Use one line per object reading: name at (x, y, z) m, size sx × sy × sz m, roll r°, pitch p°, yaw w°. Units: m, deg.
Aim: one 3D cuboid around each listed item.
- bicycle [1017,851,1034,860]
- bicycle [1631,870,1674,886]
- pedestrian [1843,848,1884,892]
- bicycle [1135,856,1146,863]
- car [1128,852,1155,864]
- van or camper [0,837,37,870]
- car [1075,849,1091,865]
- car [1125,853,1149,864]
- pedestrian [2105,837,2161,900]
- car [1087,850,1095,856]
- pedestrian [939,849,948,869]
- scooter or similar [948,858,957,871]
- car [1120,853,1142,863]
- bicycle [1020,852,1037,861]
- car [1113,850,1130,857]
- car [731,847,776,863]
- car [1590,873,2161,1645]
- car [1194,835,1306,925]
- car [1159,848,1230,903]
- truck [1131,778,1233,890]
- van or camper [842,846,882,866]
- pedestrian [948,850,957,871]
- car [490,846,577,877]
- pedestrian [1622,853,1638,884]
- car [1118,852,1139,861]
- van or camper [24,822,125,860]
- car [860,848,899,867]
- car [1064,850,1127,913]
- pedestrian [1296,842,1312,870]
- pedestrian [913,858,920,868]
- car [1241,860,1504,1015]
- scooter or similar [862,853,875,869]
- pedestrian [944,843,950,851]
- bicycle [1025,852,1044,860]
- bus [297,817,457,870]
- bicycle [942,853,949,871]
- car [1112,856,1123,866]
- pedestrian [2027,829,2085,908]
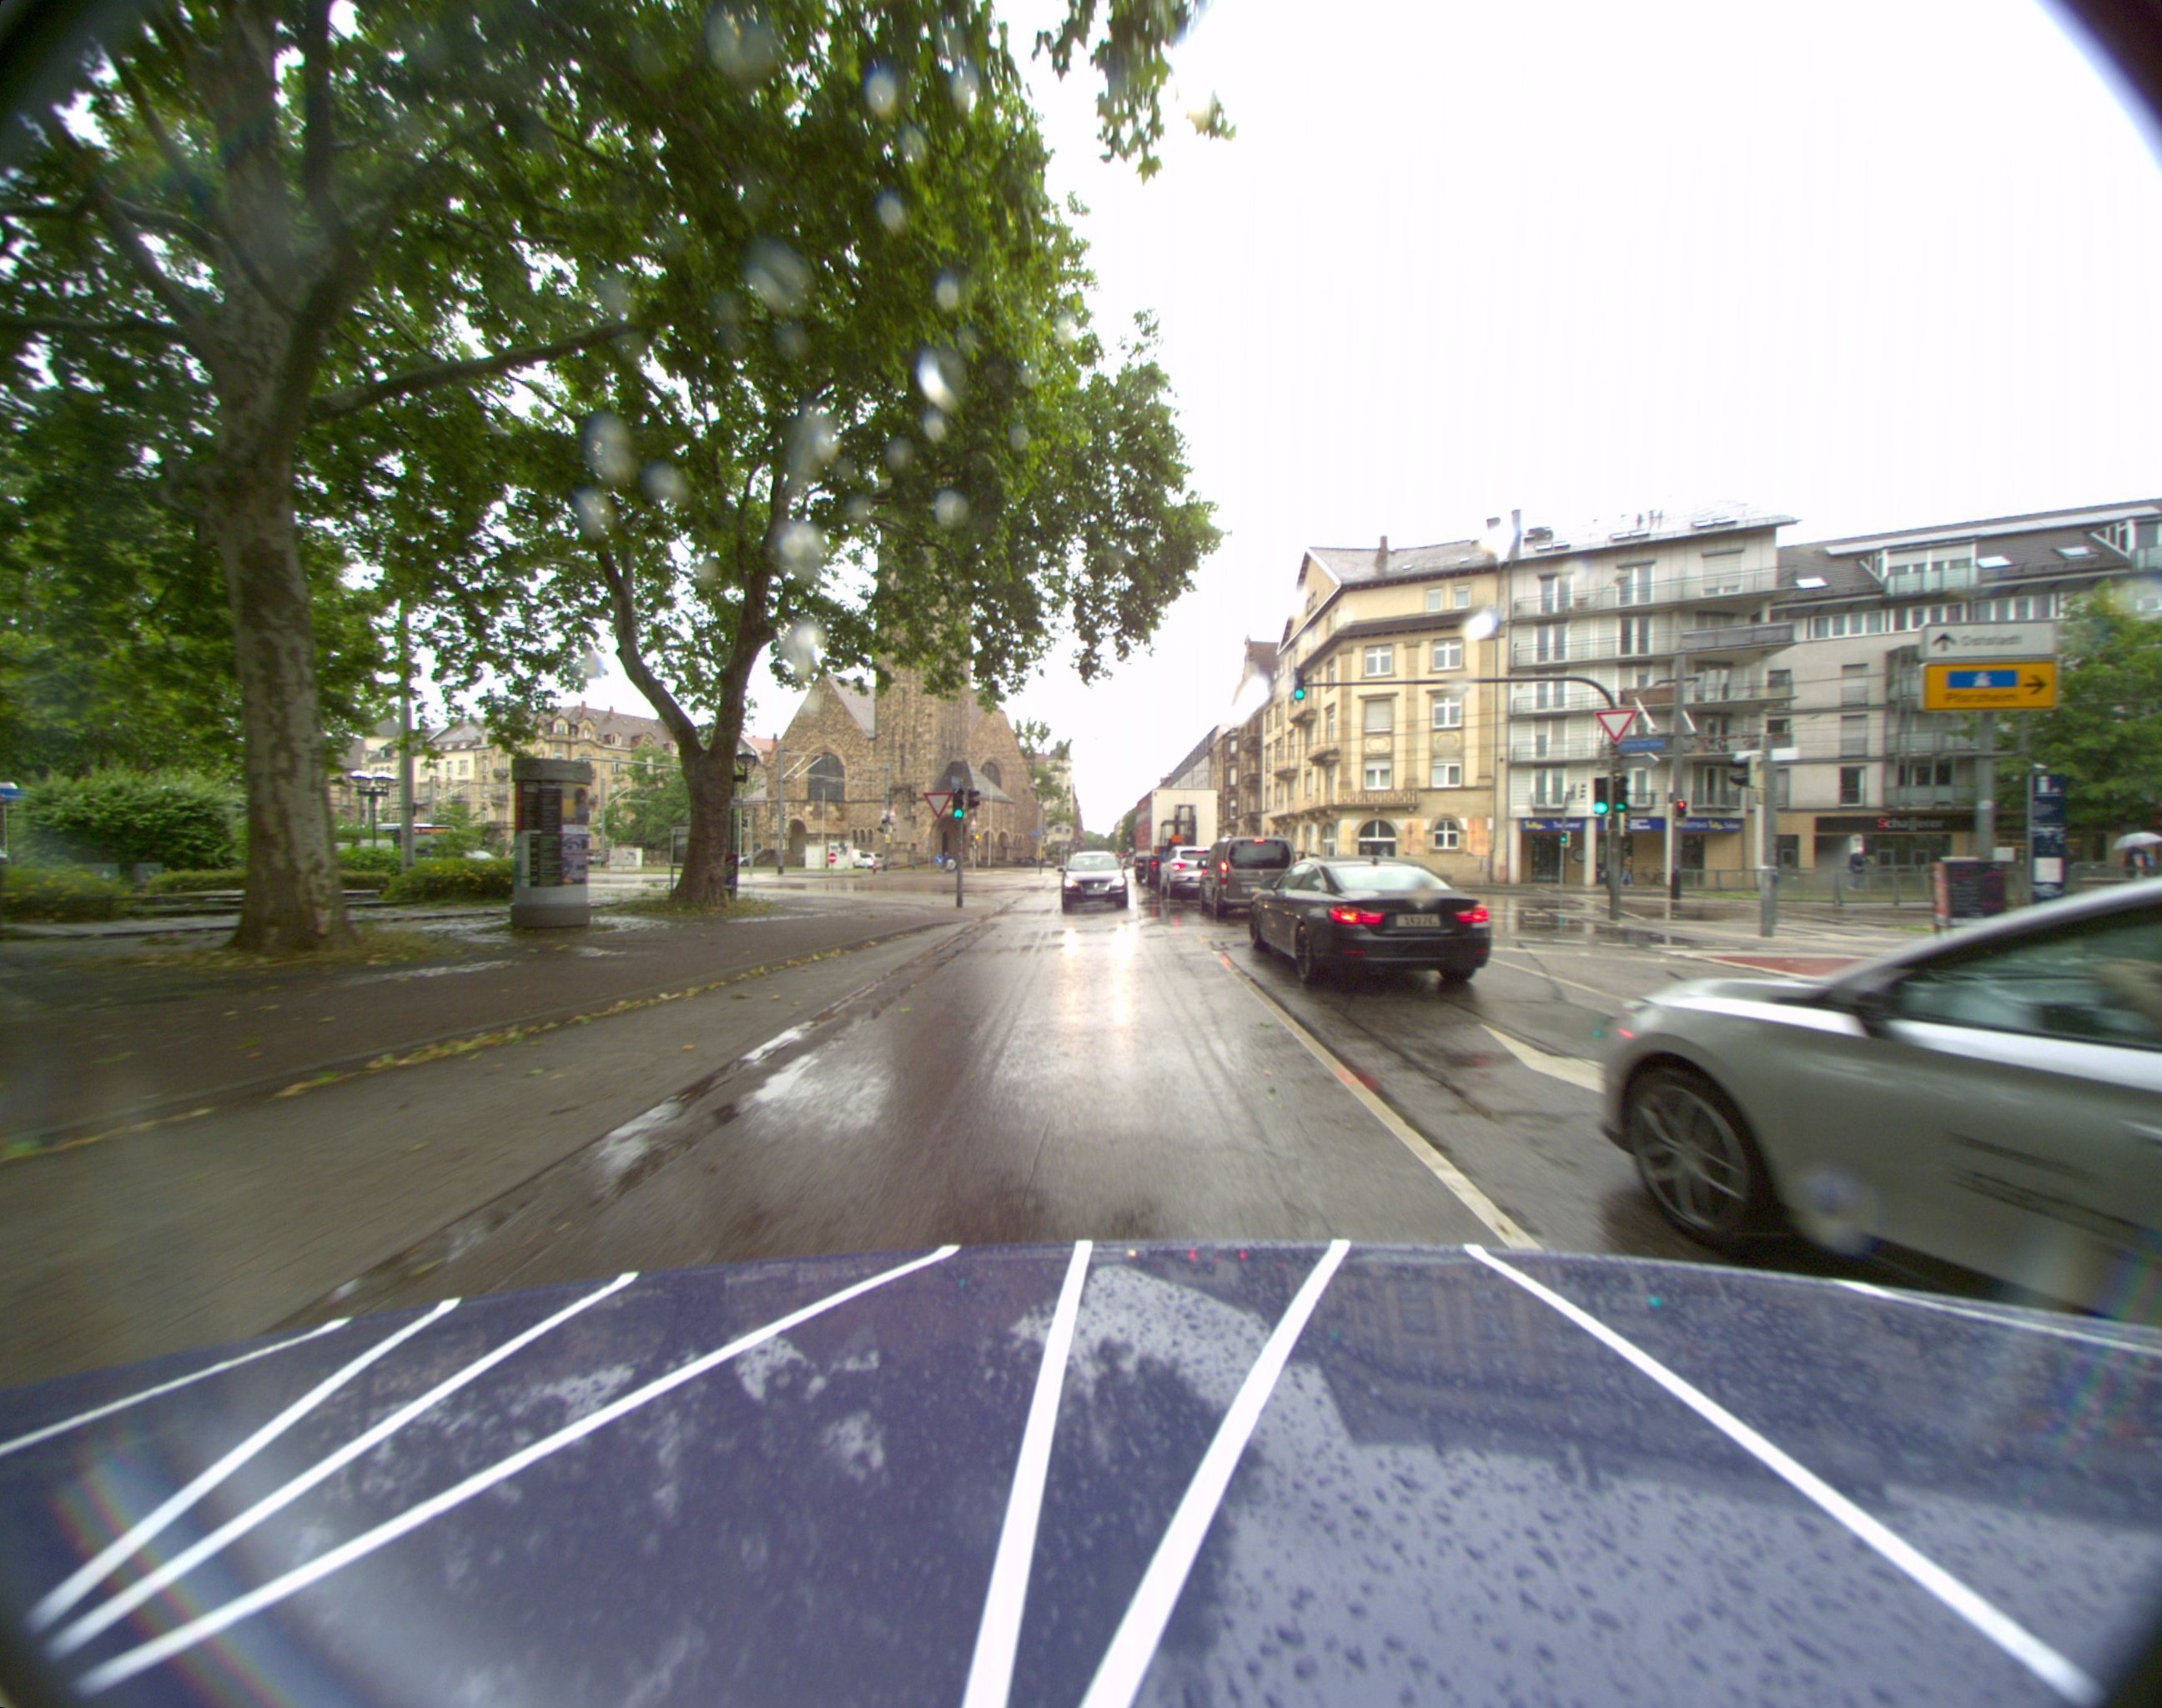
bicycle at (-6.716, 0.218, 92.008) m, size 1.923 × 1.054 × 0.582 m, roll 1°, pitch 1°, yaw 23°
bicycle at (33.401, 1.385, 44.403) m, size 1.922 × 0.861 × 0.582 m, roll 1°, pitch 0°, yaw 27°
pedestrian at (29.780, 0.612, 28.938) m, size 0.754 × 1.639 × 0.839 m, roll 2°, pitch 1°, yaw 22°
bicycle at (9.457, 0.924, 121.382) m, size 1.687 × 1.067 × 0.545 m, roll 0°, pitch 1°, yaw -2°
car at (10.073, 0.663, 125.775) m, size 4.006 × 1.804 × 1.995 m, roll 1°, pitch 0°, yaw -25°
van or camper at (-53.992, -0.039, 37.362) m, size 4.659 × 1.589 × 2.003 m, roll 1°, pitch 0°, yaw 21°
car at (0.295, 0.409, 95.797) m, size 1.909 × 1.911 × 5.272 m, roll 1°, pitch 0°, yaw 1°
car at (9.814, 0.771, 133.573) m, size 3.802 × 1.705 × 1.998 m, roll 1°, pitch 0°, yaw -9°
pedestrian at (28.302, 0.383, 20.289) m, size 0.815 × 1.639 × 0.795 m, roll 2°, pitch 1°, yaw 24°
car at (3.091, -0.229, 225.624) m, size 1.998 × 1.705 × 3.804 m, roll 1°, pitch 0°, yaw 5°
pedestrian at (-11.804, 0.410, 65.296) m, size 0.678 × 1.693 × 0.633 m, roll 1°, pitch 1°, yaw -9°
scooter or similar at (-10.417, 0.840, 61.430) m, size 0.514 × 1.042 × 0.924 m, roll 1°, pitch 0°, yaw 4°
car at (9.663, 0.751, 146.472) m, size 3.802 × 1.705 × 1.998 m, roll 1°, pitch 0°, yaw -9°
bicycle at (-6.393, 0.249, 92.637) m, size 1.923 × 1.054 × 0.582 m, roll 1°, pitch 1°, yaw 23°
car at (10.365, -0.102, 194.609) m, size 3.809 × 1.705 × 1.995 m, roll 1°, pitch 0°, yaw -32°
car at (-34.124, 0.099, 79.298) m, size 1.995 × 1.608 × 4.007 m, roll 1°, pitch 0°, yaw 25°
car at (3.101, 0.850, 1.238) m, size 1.850 × 1.501 × 4.055 m, roll 1°, pitch 0°, yaw 1°
car at (3.798, 0.523, 17.798) m, size 1.811 × 1.851 × 4.109 m, roll 1°, pitch 0°, yaw 2°
car at (3.521, 0.613, 24.161) m, size 1.746 × 1.595 × 4.000 m, roll 1°, pitch 0°, yaw 2°
truck at (4.004, -0.727, 32.755) m, size 2.853 × 4.002 × 10.315 m, roll 1°, pitch 0°, yaw 0°
van or camper at (-21.575, 0.185, 74.981) m, size 1.644 × 1.719 × 3.935 m, roll 1°, pitch 4°, yaw 25°
pedestrian at (-10.534, 0.547, 62.215) m, size 0.604 × 1.653 × 0.689 m, roll 1°, pitch 0°, yaw 5°
car at (-29.704, 0.367, 41.242) m, size 4.543 × 1.590 × 1.795 m, roll 1°, pitch 0°, yaw 24°
pedestrian at (31.385, 0.834, 43.443) m, size 0.610 × 1.770 × 0.500 m, roll 1°, pitch 1°, yaw 26°
car at (10.373, 0.565, 166.844) m, size 4.006 × 2.002 × 1.995 m, roll 1°, pitch 0°, yaw -27°
van or camper at (-52.644, -0.666, 39.744) m, size 4.659 × 1.903 × 2.003 m, roll 1°, pitch 0°, yaw 21°
car at (-19.113, 0.294, 72.263) m, size 1.732 × 1.565 × 3.363 m, roll 1°, pitch 4°, yaw 28°
car at (0.405, 0.684, 21.059) m, size 1.547 × 1.553 × 4.071 m, roll 1°, pitch 0°, yaw 1°
pedestrian at (15.978, 0.135, 54.433) m, size 0.920 × 1.955 × 0.700 m, roll 0°, pitch 3°, yaw 6°
pedestrian at (-14.631, 0.832, 67.561) m, size 0.455 × 0.879 × 0.397 m, roll 1°, pitch 1°, yaw 22°
car at (3.287, 0.833, 9.559) m, size 1.746 × 1.381 × 4.362 m, roll -1°, pitch 1°, yaw 2°
scooter or similar at (-18.462, 0.627, 65.994) m, size 1.101 × 1.379 × 0.287 m, roll 1°, pitch 0°, yaw 24°
pedestrian at (-13.702, -0.714, 77.496) m, size 0.395 × 0.879 × 0.457 m, roll 1°, pitch 1°, yaw 24°
bicycle at (-5.731, 0.245, 93.618) m, size 2.150 × 1.054 × 0.679 m, roll 1°, pitch 1°, yaw 23°
bus at (-44.818, -0.669, 48.259) m, size 12.071 × 3.095 × 2.899 m, roll 1°, pitch 0°, yaw 24°
bicycle at (-11.122, 0.625, 62.354) m, size 0.533 × 1.458 × 1.939 m, roll 1°, pitch 0°, yaw -8°
car at (6.088, 1.208, 126.805) m, size 1.748 × 1.537 × 3.779 m, roll 1°, pitch 0°, yaw 1°
pedestrian at (26.264, 0.380, 20.482) m, size 0.701 × 2.065 × 0.638 m, roll 1°, pitch 1°, yaw 20°
